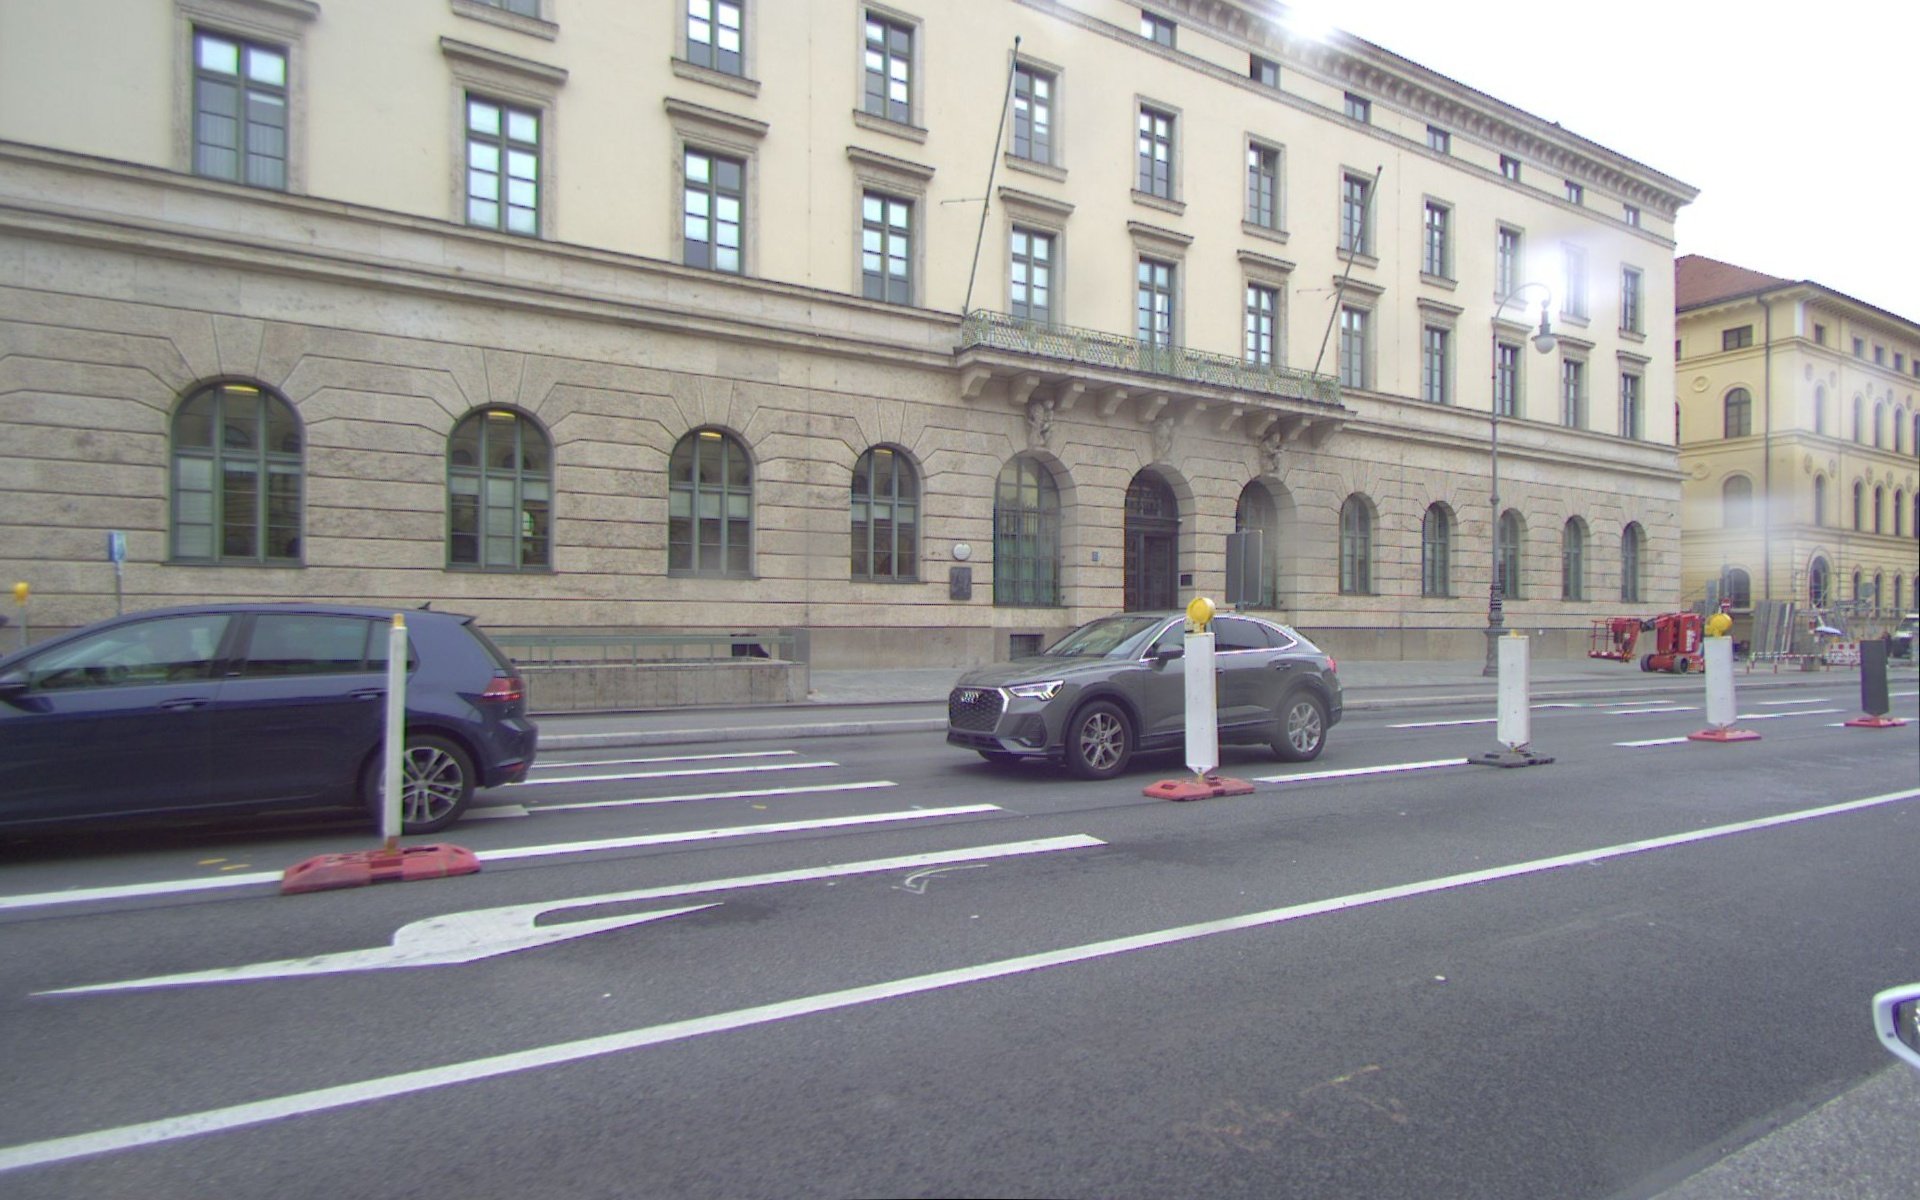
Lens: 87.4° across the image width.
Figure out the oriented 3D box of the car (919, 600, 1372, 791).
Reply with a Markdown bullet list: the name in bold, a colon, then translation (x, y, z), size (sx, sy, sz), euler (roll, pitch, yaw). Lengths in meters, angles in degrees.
- **car**: translation (1.982, 0.880, 10.299), size (4.523, 1.587, 1.778), euler (1, -3, -31)

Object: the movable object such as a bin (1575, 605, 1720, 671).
- **movable object such as a bin**: translation (22.717, 1.286, 33.093), size (5.904, 2.040, 1.504), euler (2, -2, -30)

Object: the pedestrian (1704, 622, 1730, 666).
- **pedestrian**: translation (28.977, 1.687, 38.449), size (0.611, 1.674, 0.608), euler (2, -1, -33)

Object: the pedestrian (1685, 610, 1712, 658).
- **pedestrian**: translation (30.386, 1.388, 41.337), size (0.645, 1.956, 0.675), euler (2, -1, -33)

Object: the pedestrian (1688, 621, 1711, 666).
- **pedestrian**: translation (28.662, 1.678, 38.938), size (0.611, 1.698, 0.549), euler (2, -1, -33)

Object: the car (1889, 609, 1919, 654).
- **car**: translation (50.281, 1.671, 52.286), size (3.952, 2.318, 1.731), euler (2, -2, -30)

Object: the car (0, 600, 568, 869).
- **car**: translation (-4.856, 0.759, 6.378), size (4.191, 1.406, 1.736), euler (2, -3, -31)

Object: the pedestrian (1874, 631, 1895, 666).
- **pedestrian**: translation (41.605, 2.182, 45.215), size (0.611, 1.550, 0.549), euler (2, -1, -33)
